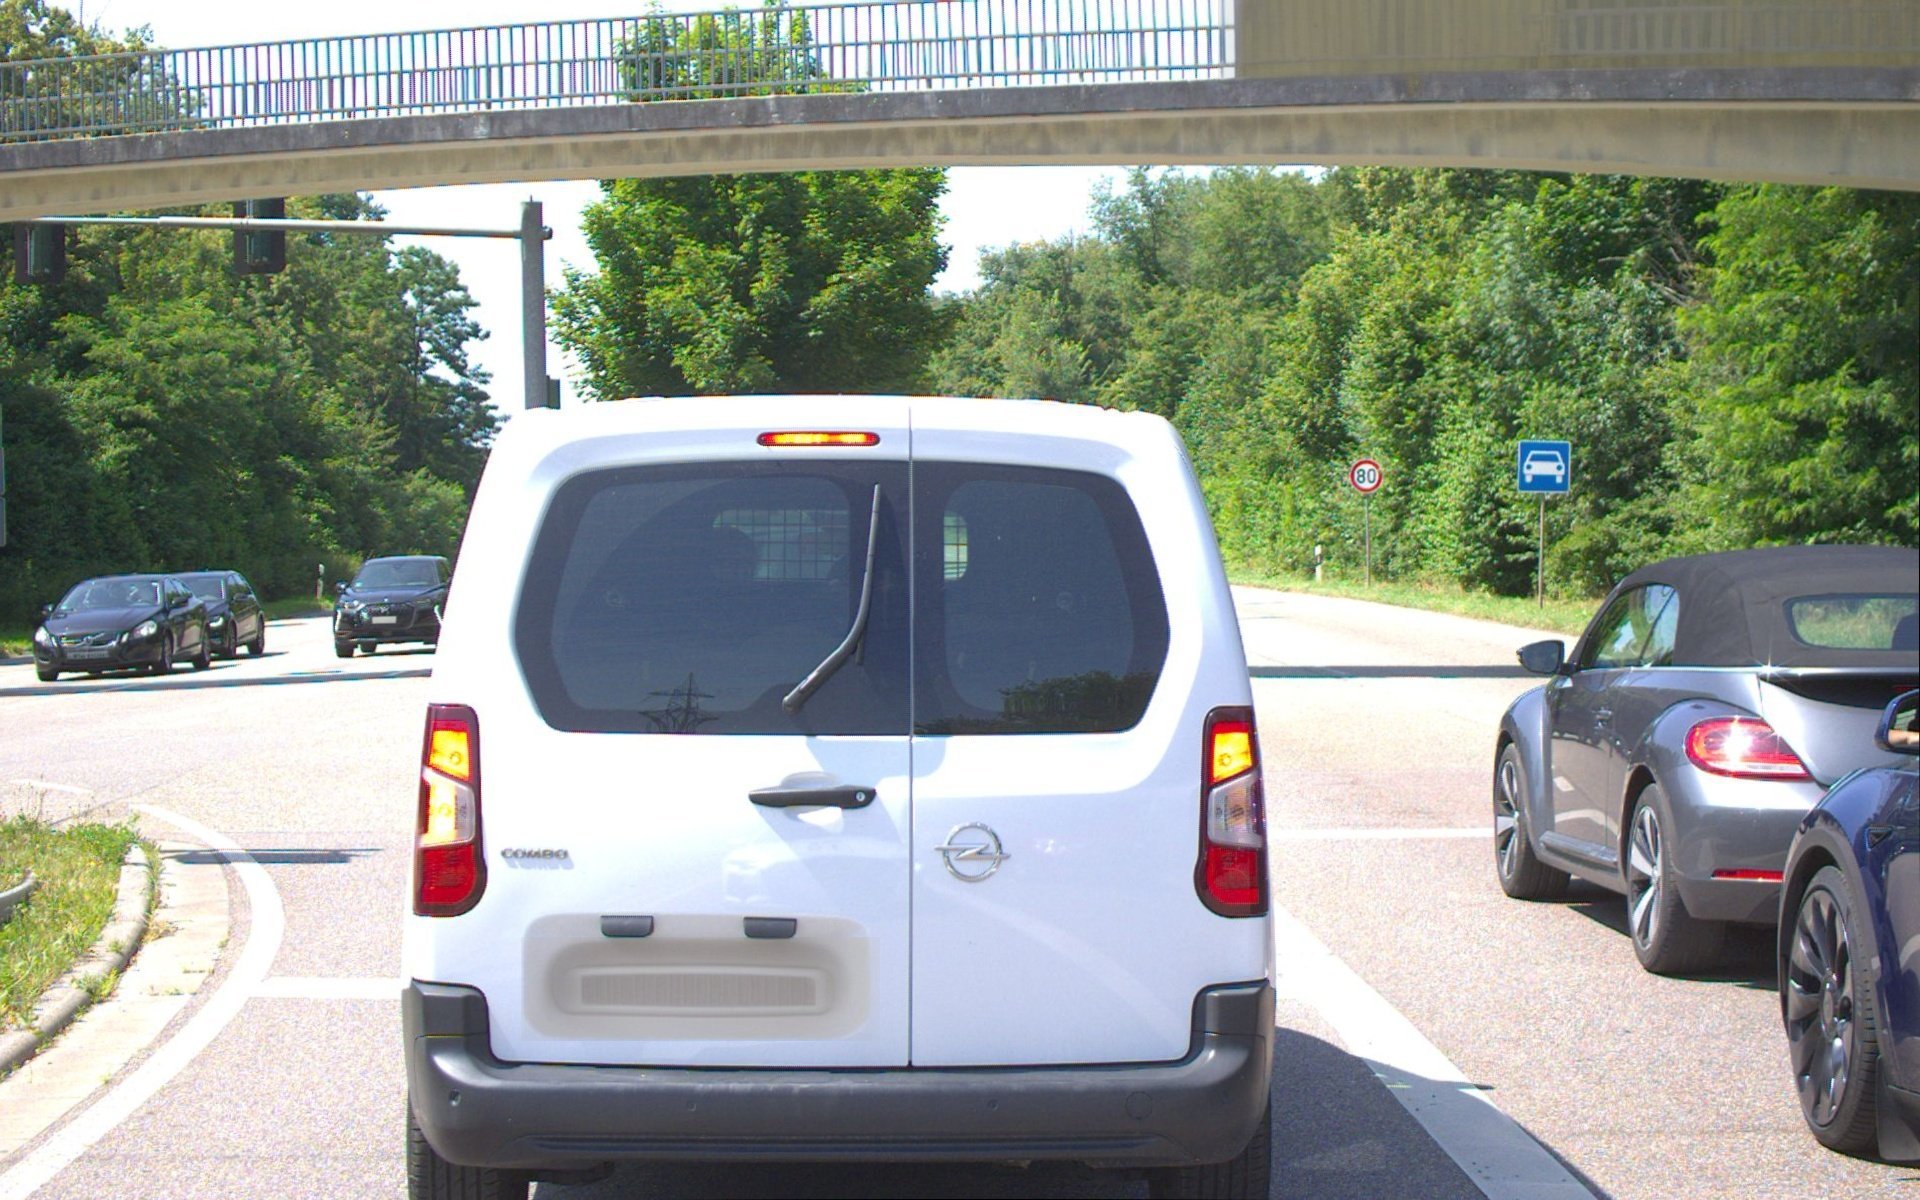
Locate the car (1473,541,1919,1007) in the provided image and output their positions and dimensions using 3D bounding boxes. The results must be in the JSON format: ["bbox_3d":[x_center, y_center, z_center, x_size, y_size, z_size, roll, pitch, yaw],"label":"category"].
[{"bbox_3d":[3.217,0.532,12.991,1.900,1.472,3.939,1,1,-1],"label":"car"}]

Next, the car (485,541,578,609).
[{"bbox_3d":[-13.312,-0.797,107.201,2.208,1.986,5.489,-2,1,-1],"label":"car"}]

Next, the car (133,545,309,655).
[{"bbox_3d":[-11.967,-0.034,55.891,1.993,1.659,4.000,-1,1,-1],"label":"car"}]

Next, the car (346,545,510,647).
[{"bbox_3d":[-8.320,-0.092,54.059,1.993,1.518,4.028,1,1,-1],"label":"car"}]

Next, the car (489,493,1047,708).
[{"bbox_3d":[-1.662,-0.032,31.553,2.047,1.693,5.074,-2,1,42],"label":"car"}]

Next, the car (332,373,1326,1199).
[{"bbox_3d":[-0.300,0.434,8.449,1.849,1.819,3.982,1,2,-2],"label":"car"}]

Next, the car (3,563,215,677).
[{"bbox_3d":[-12.063,0.249,49.006,2.008,1.455,4.055,-2,1,-1],"label":"car"}]

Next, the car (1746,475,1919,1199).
[{"bbox_3d":[3.057,0.572,6.787,1.900,1.639,4.520,1,1,-1],"label":"car"}]
